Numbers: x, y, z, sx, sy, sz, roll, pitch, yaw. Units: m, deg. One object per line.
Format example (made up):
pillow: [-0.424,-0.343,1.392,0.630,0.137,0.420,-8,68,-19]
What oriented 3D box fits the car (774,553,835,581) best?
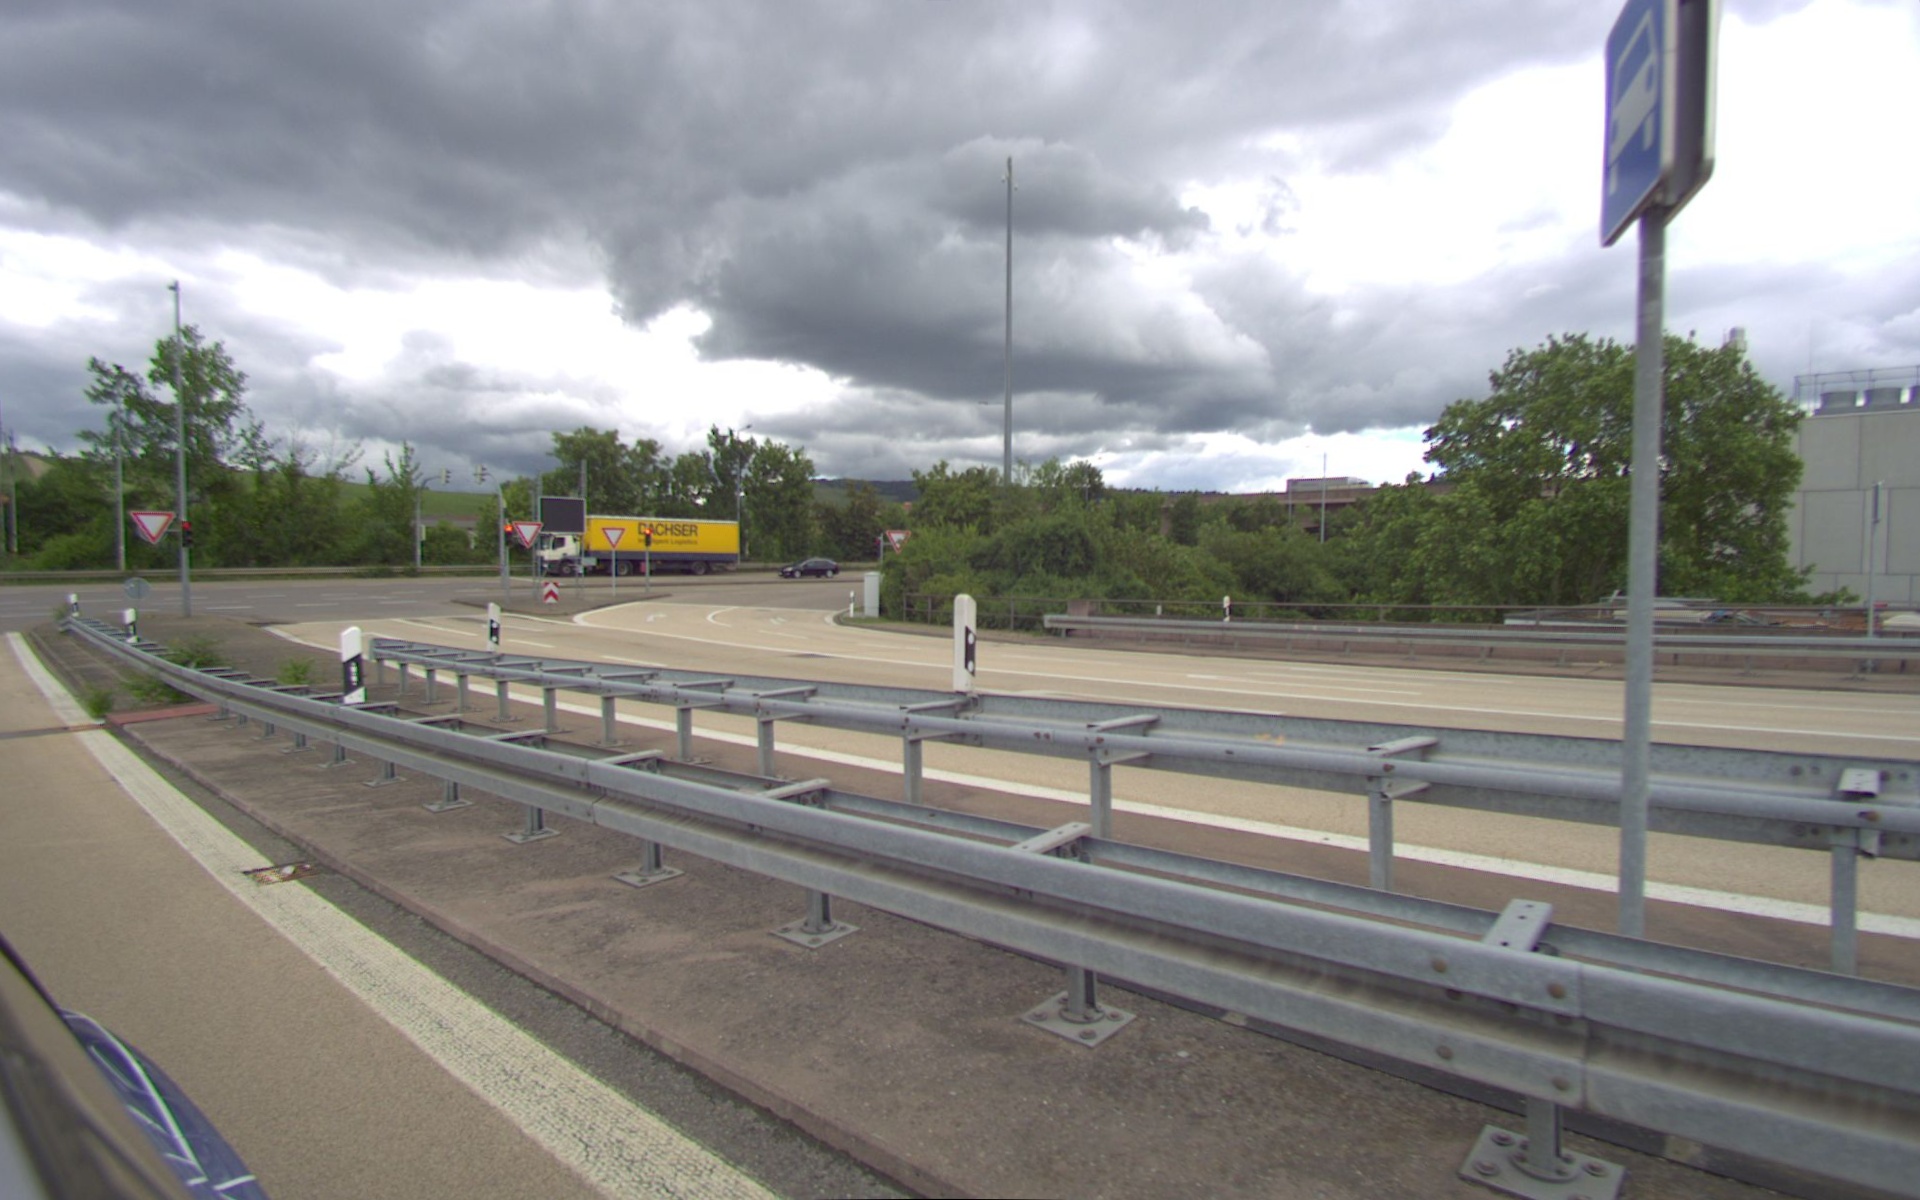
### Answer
car: [-11.059,-2.363,72.086,4.063,1.673,1.631,-6,8,-42]

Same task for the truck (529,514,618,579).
truck: [-26.146,-3.613,68.519,5.022,4.235,2.640,-2,3,-40]

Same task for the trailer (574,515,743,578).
trailer: [-21.389,-3.772,72.547,11.474,4.235,2.640,-2,3,-40]
